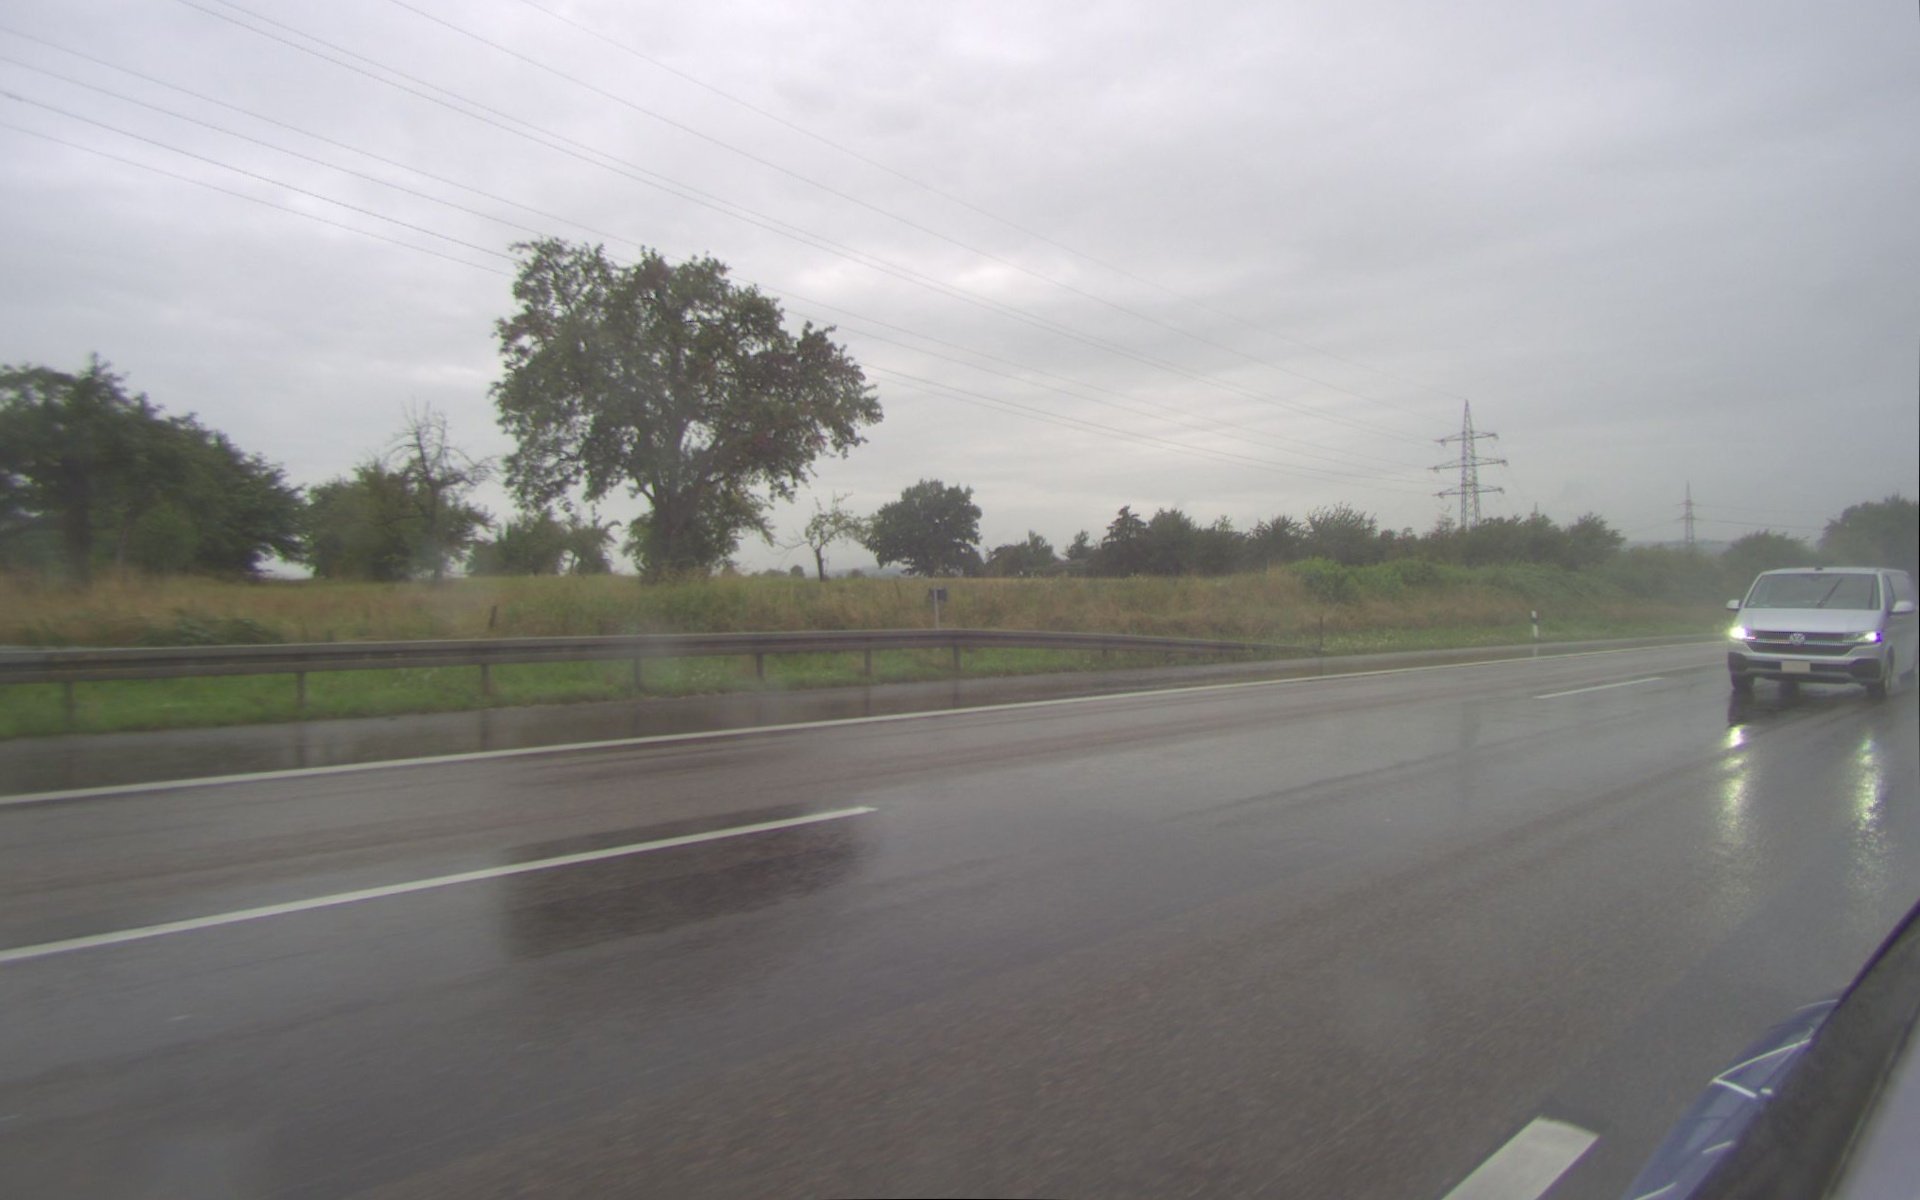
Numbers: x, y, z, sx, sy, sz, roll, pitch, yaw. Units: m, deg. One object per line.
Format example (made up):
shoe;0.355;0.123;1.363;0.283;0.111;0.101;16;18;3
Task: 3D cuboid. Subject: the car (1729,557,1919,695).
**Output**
car;14.307;0.386;16.355;4.920;1.908;1.890;0;-2;-40
